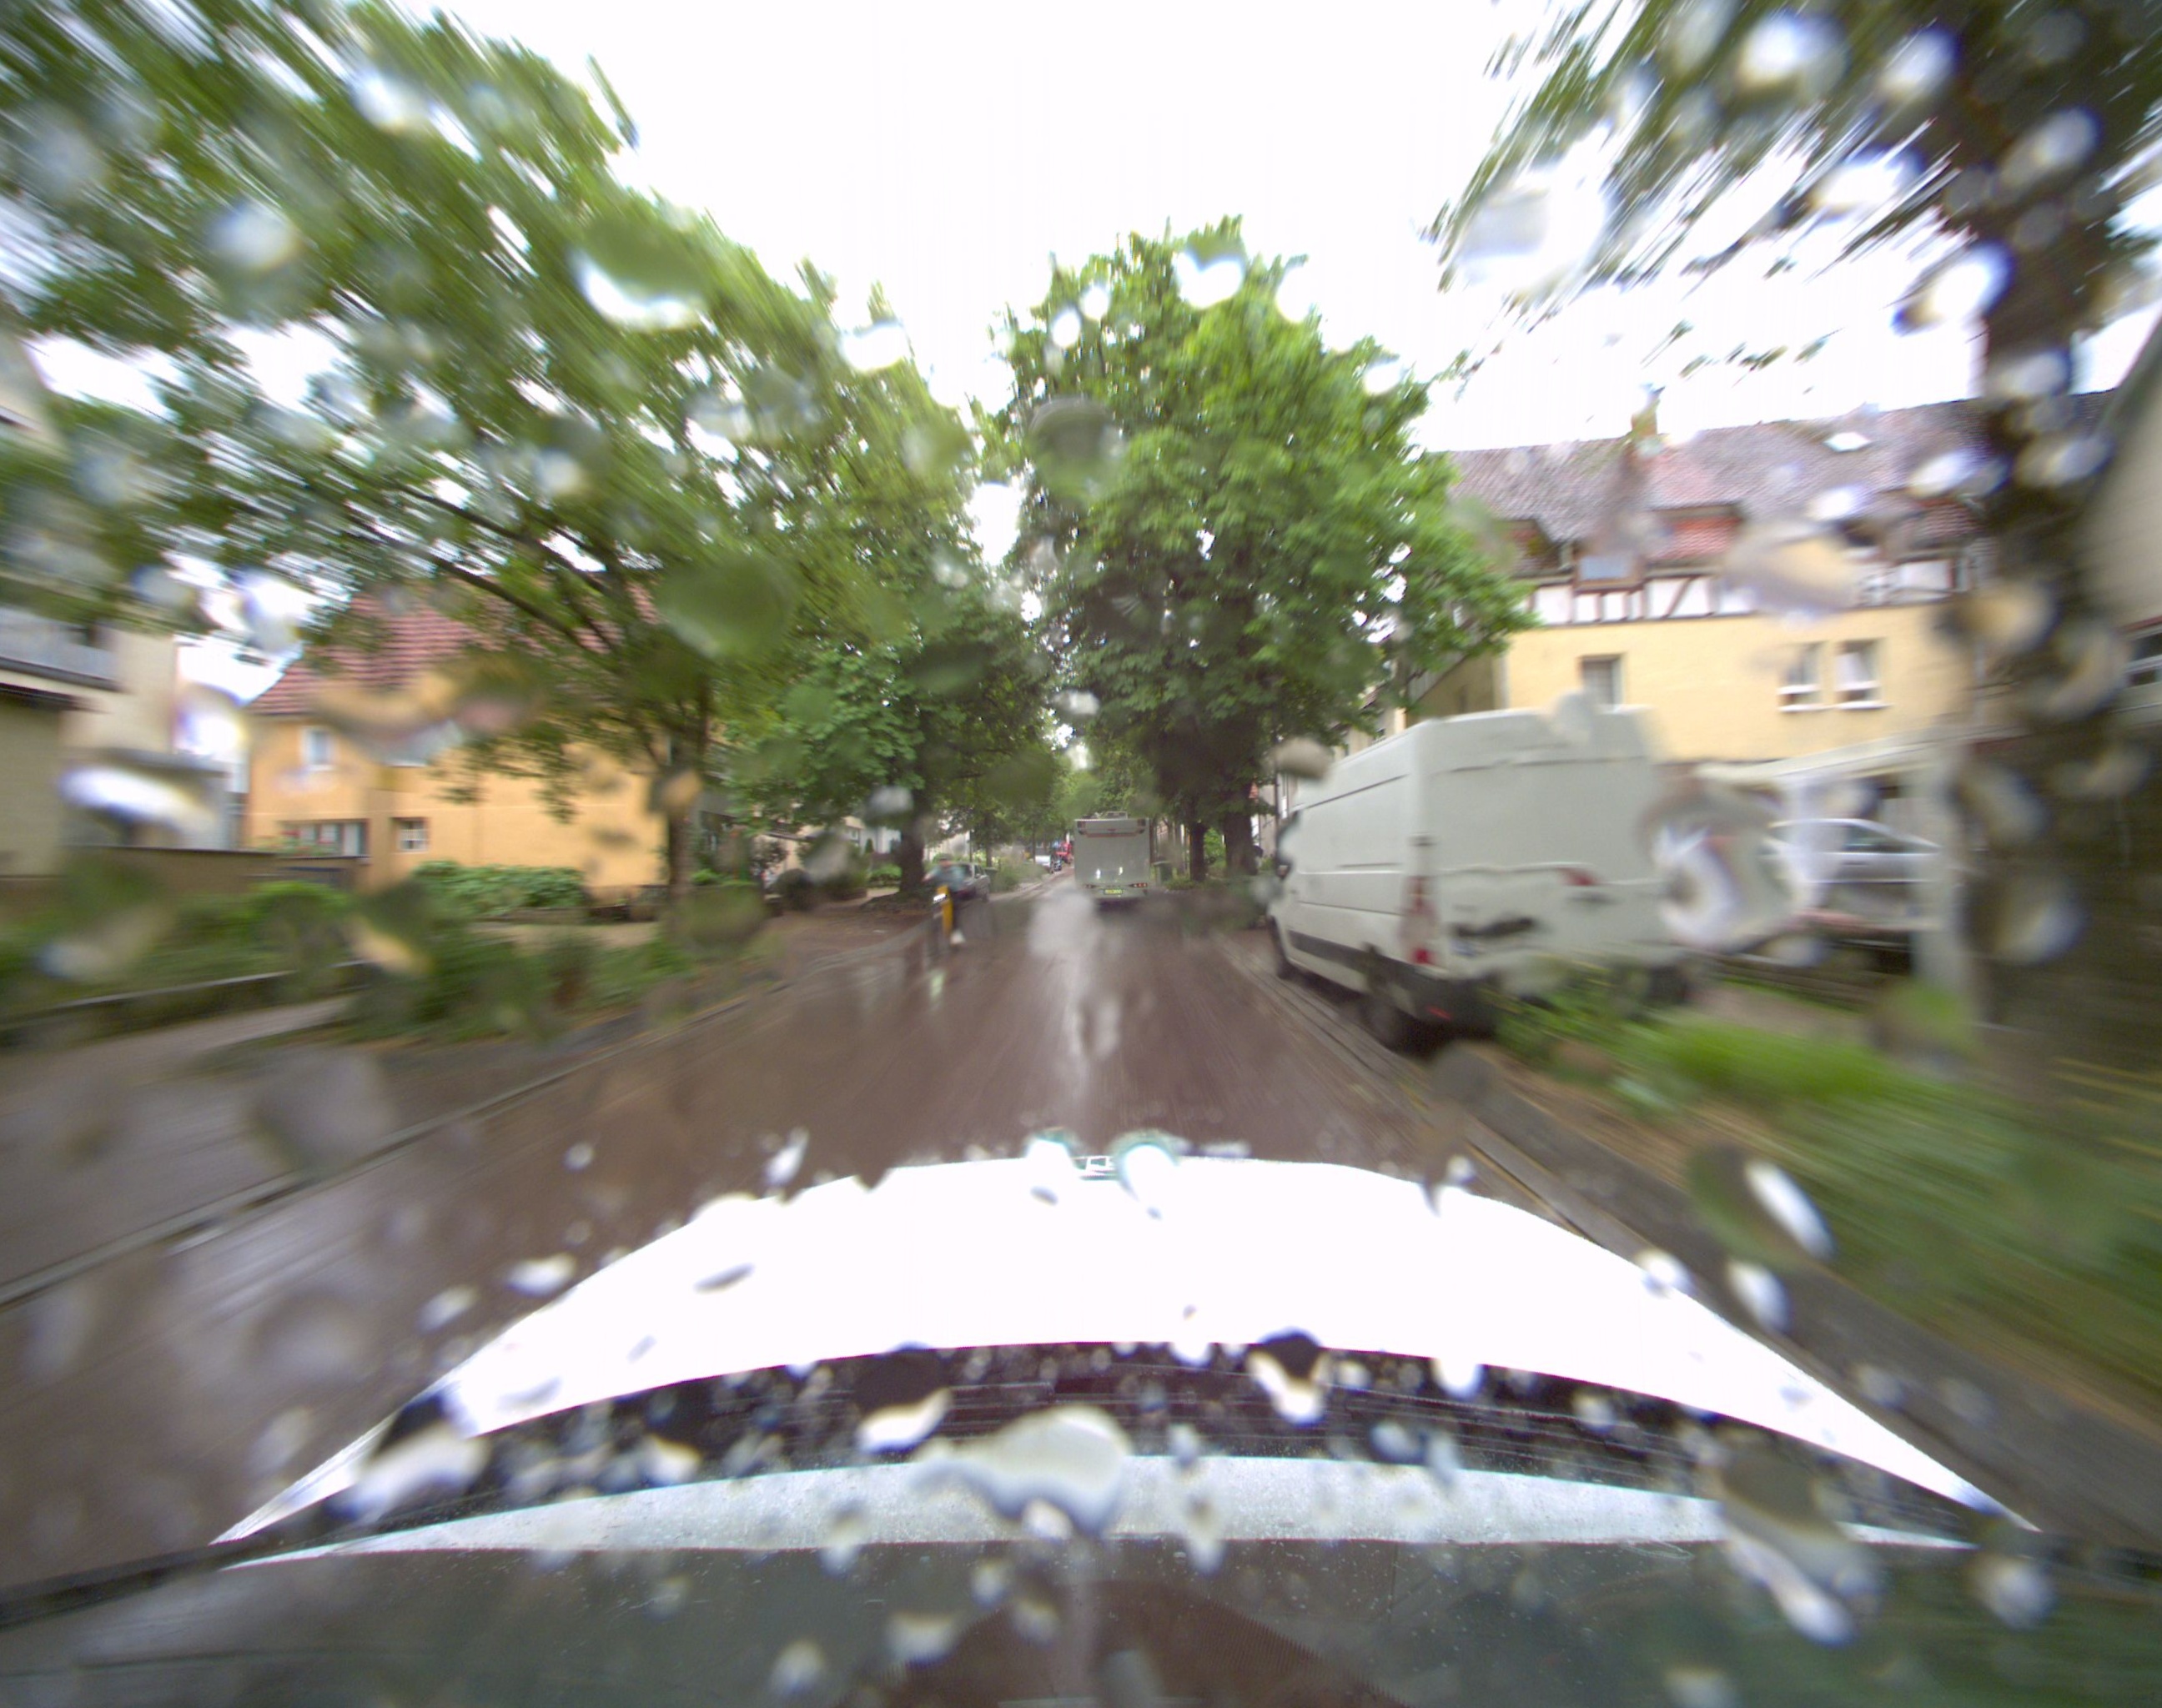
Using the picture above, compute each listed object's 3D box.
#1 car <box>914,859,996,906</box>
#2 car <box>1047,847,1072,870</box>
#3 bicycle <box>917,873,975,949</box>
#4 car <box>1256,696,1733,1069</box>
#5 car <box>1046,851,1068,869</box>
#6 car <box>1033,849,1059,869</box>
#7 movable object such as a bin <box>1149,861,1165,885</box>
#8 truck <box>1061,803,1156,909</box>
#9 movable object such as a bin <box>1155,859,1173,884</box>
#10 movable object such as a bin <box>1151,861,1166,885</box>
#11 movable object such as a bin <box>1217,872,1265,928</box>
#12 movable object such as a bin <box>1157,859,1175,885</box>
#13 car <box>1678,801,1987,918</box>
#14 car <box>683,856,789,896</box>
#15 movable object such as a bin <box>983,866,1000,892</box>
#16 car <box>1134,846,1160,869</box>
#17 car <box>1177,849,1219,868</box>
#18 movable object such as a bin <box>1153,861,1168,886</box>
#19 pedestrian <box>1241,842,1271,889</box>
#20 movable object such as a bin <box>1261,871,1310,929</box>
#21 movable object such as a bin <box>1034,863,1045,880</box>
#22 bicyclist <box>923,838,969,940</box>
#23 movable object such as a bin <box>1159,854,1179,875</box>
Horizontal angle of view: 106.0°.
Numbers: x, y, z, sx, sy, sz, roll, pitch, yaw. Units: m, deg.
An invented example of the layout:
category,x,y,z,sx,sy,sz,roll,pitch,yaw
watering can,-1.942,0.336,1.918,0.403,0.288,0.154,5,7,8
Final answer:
category,x,y,z,sx,sy,sz,roll,pitch,yaw
car,-4.111,0.893,27.293,1.765,1.389,4.549,1,0,3
car,-2.425,0.499,94.950,2.293,2.483,5.792,-1,1,5
bicycle,-2.359,0.966,14.441,0.625,1.209,1.982,-1,0,2
car,3.326,0.201,8.139,2.133,2.460,5.437,-1,0,2
car,-2.155,0.492,74.329,1.765,1.553,4.002,1,1,2
car,-2.758,0.388,65.393,1.640,1.533,3.870,0,0,4
movable object such as a bin,3.466,0.855,37.295,0.642,1.082,0.540,-1,-1,-2
truck,0.901,0.078,26.387,2.684,2.986,6.239,-1,0,2
movable object such as a bin,3.608,0.760,35.511,0.686,1.082,0.540,-1,0,-2
movable object such as a bin,3.486,0.859,36.755,0.629,1.082,0.471,-1,-1,-2
movable object such as a bin,3.191,0.906,16.264,0.794,1.075,0.879,-1,0,1
movable object such as a bin,3.662,0.759,34.940,0.686,1.082,0.540,-1,-1,-2
car,12.045,0.111,13.270,3.266,1.595,1.665,-3,-1,9
car,-14.030,0.877,33.277,3.558,1.477,1.637,2,0,1
movable object such as a bin,-3.829,1.071,34.859,0.592,1.062,0.546,1,0,5
car,5.232,0.260,65.009,1.907,1.792,4.490,-1,0,2
car,10.182,0.371,70.862,3.355,1.430,1.630,-3,0,-2
movable object such as a bin,3.516,0.866,36.064,0.608,1.082,0.512,-1,-1,-2
pedestrian,6.402,0.413,29.733,0.947,1.652,0.797,-2,-1,15
movable object such as a bin,4.008,0.894,16.009,0.745,1.075,0.879,-1,0,1
movable object such as a bin,-2.723,1.135,53.688,0.640,1.111,0.536,-2,0,3
bicyclist,-2.374,0.596,14.376,0.625,1.731,0.880,-1,-1,1
movable object such as a bin,5.554,0.663,51.378,1.219,1.315,1.135,-2,0,4
